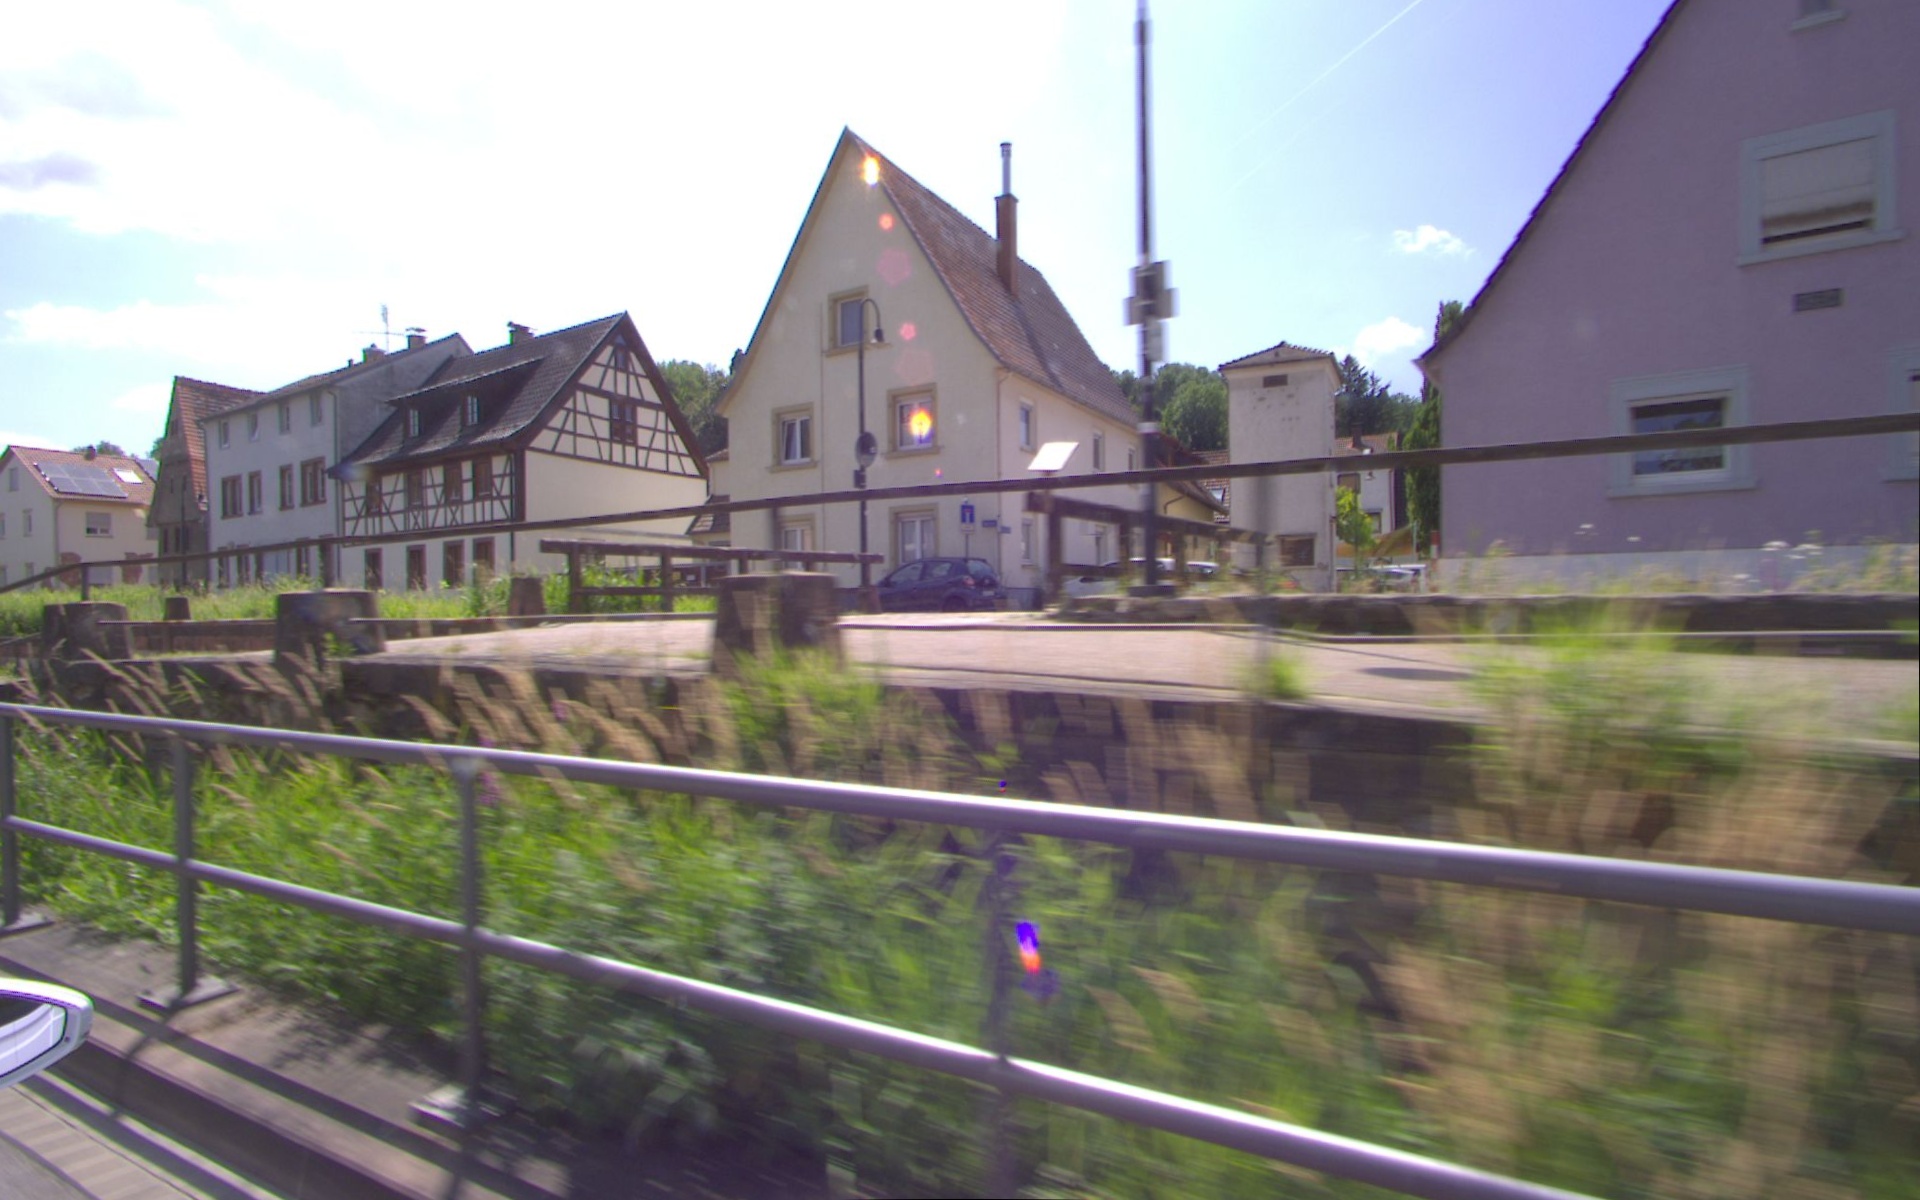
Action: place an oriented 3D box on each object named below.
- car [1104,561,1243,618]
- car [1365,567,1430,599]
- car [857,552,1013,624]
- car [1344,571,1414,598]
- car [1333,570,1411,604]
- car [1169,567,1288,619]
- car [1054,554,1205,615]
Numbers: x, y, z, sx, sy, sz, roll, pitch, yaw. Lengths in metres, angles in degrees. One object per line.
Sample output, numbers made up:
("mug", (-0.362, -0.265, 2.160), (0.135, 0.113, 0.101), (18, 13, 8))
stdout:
("car", (5.481, -0.234, 25.737), (3.193, 1.342, 1.664), (-1, -1, 28))
("car", (20.780, -0.799, 47.603), (2.700, 1.458, 1.244), (-1, 2, 32))
("car", (-0.559, -0.214, 21.988), (3.034, 1.434, 1.663), (-1, -2, 32))
("car", (18.617, -0.673, 44.519), (2.700, 1.141, 1.244), (-1, 2, 32))
("car", (16.654, -0.517, 40.466), (2.704, 1.317, 1.243), (0, 2, 36))
("car", (8.056, -0.170, 30.057), (3.193, 1.451, 1.665), (-1, -2, 28))
("car", (4.031, -0.361, 23.824), (3.193, 1.343, 1.663), (-1, 2, 28))
